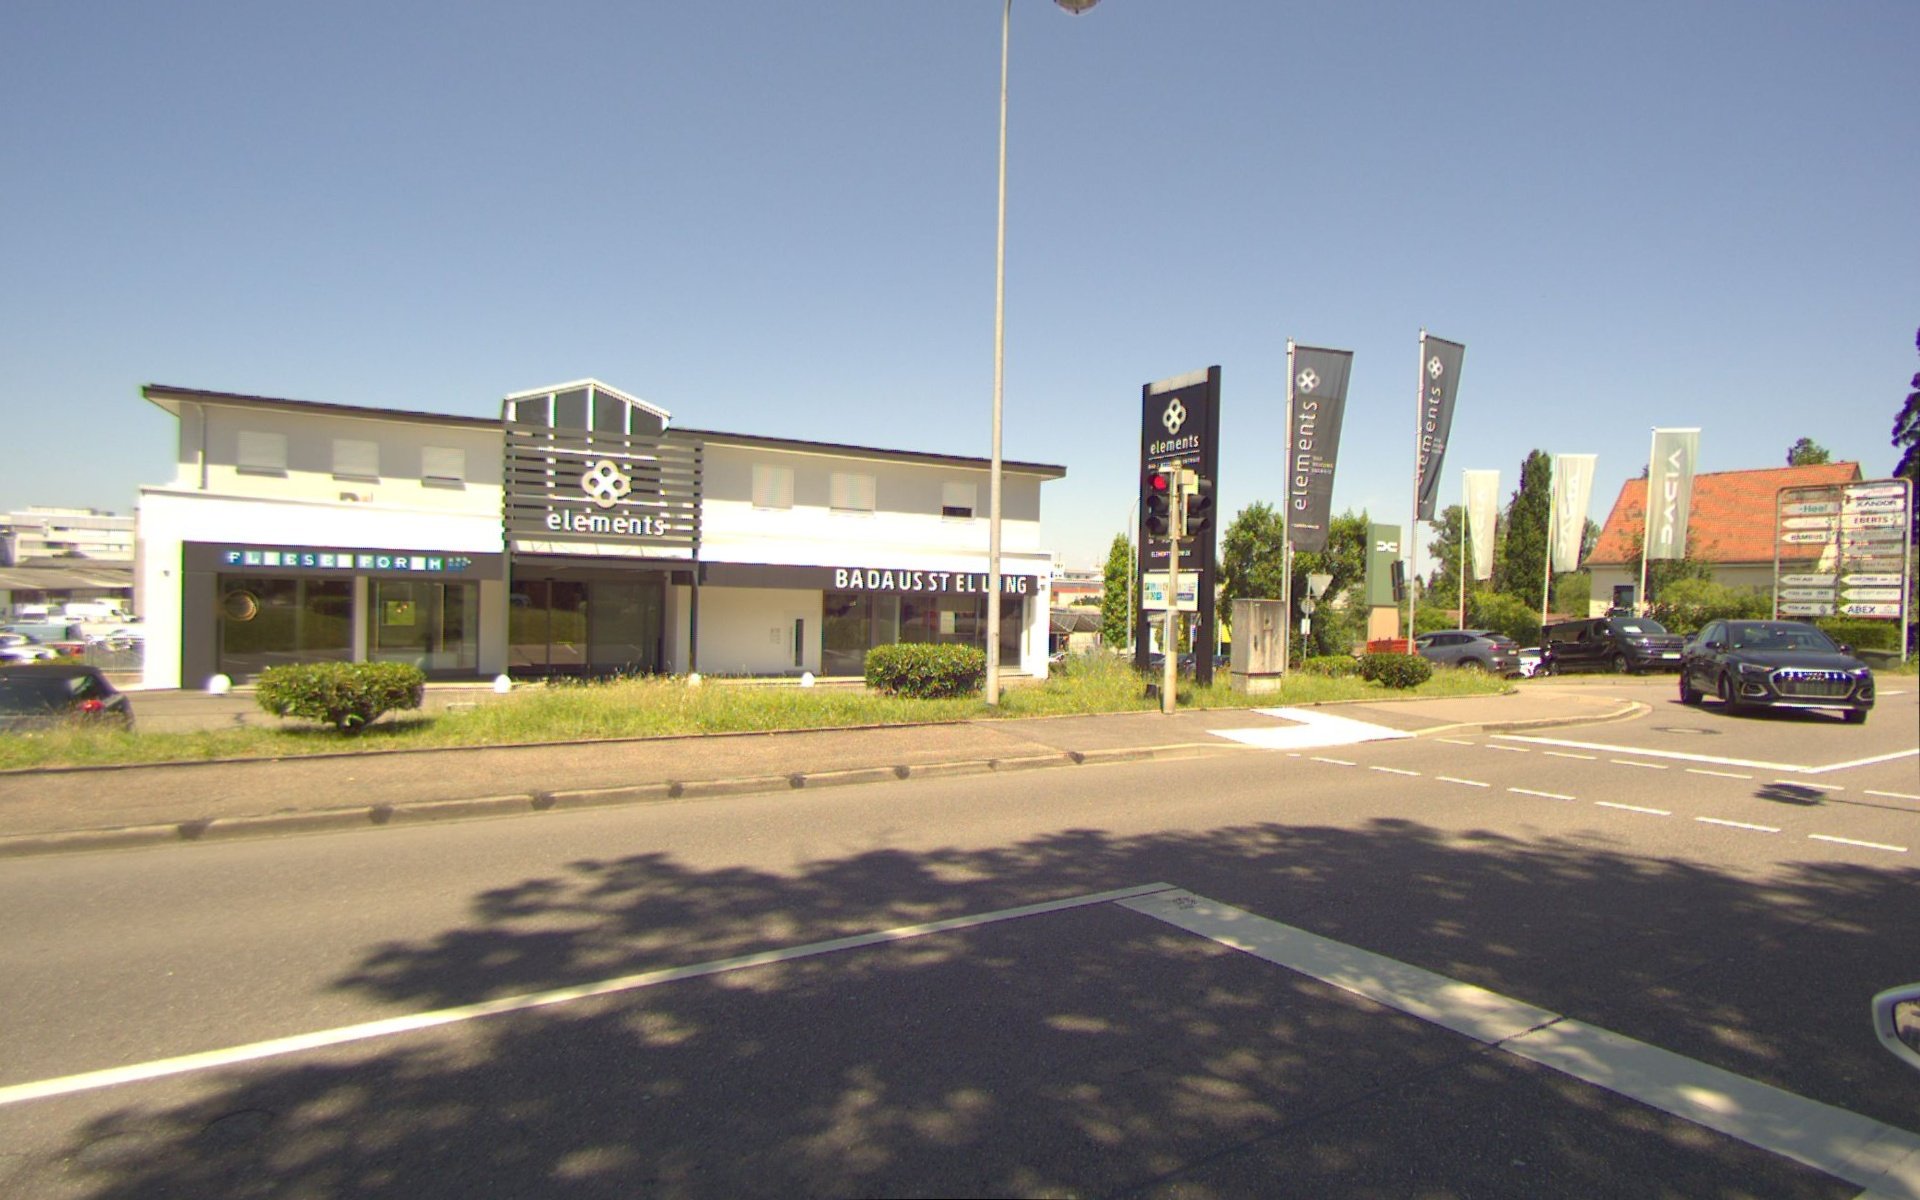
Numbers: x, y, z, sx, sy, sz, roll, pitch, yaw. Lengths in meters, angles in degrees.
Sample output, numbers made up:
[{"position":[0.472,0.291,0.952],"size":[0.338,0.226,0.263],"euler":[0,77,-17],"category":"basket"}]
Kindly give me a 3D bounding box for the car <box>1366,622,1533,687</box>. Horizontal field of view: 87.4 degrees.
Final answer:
[{"position":[15.129,1.630,31.207],"size":[1.871,1.740,4.258],"euler":[1,0,-41],"category":"car"}]

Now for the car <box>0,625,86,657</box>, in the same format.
[{"position":[-54.941,2.432,59.832],"size":[3.953,1.839,1.984],"euler":[1,-1,-30],"category":"car"}]

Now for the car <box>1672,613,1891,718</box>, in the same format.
[{"position":[13.958,1.073,17.388],"size":[1.892,1.546,4.305],"euler":[0,-2,25],"category":"car"}]

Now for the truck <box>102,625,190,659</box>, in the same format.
[{"position":[-50.367,2.599,62.249],"size":[3.938,2.003,1.672],"euler":[2,0,-31],"category":"truck"}]

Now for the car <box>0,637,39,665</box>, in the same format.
[{"position":[-54.841,2.838,56.605],"size":[3.953,1.494,1.742],"euler":[2,0,-30],"category":"car"}]

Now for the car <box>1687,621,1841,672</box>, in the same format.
[{"position":[24.897,1.408,31.200],"size":[1.586,1.446,3.466],"euler":[1,-1,-36],"category":"car"}]

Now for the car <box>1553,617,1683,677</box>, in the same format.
[{"position":[20.940,1.458,32.036],"size":[1.561,1.736,3.119],"euler":[2,0,-40],"category":"car"}]

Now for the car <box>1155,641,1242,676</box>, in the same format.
[{"position":[11.243,2.734,47.558],"size":[1.736,1.432,3.967],"euler":[2,0,-30],"category":"car"}]

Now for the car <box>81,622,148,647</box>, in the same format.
[{"position":[-55.784,2.303,66.356],"size":[3.090,1.554,1.672],"euler":[2,0,-30],"category":"car"}]

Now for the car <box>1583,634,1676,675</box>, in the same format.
[{"position":[25.443,2.046,38.220],"size":[1.330,1.446,2.640],"euler":[1,-1,-32],"category":"car"}]

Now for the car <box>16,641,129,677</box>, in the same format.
[{"position":[-44.791,2.966,50.826],"size":[3.953,1.657,1.835],"euler":[2,-1,-30],"category":"car"}]

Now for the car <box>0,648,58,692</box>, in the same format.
[{"position":[-41.020,2.953,42.609],"size":[3.773,1.750,1.738],"euler":[2,0,-30],"category":"car"}]

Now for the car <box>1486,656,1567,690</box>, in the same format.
[{"position":[23.684,3.022,41.984],"size":[3.211,1.242,1.735],"euler":[1,0,-35],"category":"car"}]

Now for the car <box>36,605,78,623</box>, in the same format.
[{"position":[-85.447,1.331,95.064],"size":[1.975,1.617,3.972],"euler":[1,-1,-27],"category":"car"}]

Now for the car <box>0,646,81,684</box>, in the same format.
[{"position":[-42.445,2.927,45.650],"size":[3.427,1.614,1.712],"euler":[2,0,-30],"category":"car"}]

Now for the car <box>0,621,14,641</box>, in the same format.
[{"position":[-73.351,2.289,75.334],"size":[3.090,1.403,1.672],"euler":[2,0,-30],"category":"car"}]

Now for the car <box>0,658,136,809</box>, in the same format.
[{"position":[-11.521,1.507,12.051],"size":[1.756,1.442,3.327],"euler":[1,0,-26],"category":"car"}]

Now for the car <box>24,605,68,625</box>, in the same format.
[{"position":[-90.035,1.483,98.976],"size":[1.972,1.853,3.977],"euler":[2,0,-23],"category":"car"}]

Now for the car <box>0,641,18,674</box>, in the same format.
[{"position":[-52.461,3.015,52.779],"size":[3.953,1.627,1.823],"euler":[2,0,-30],"category":"car"}]
